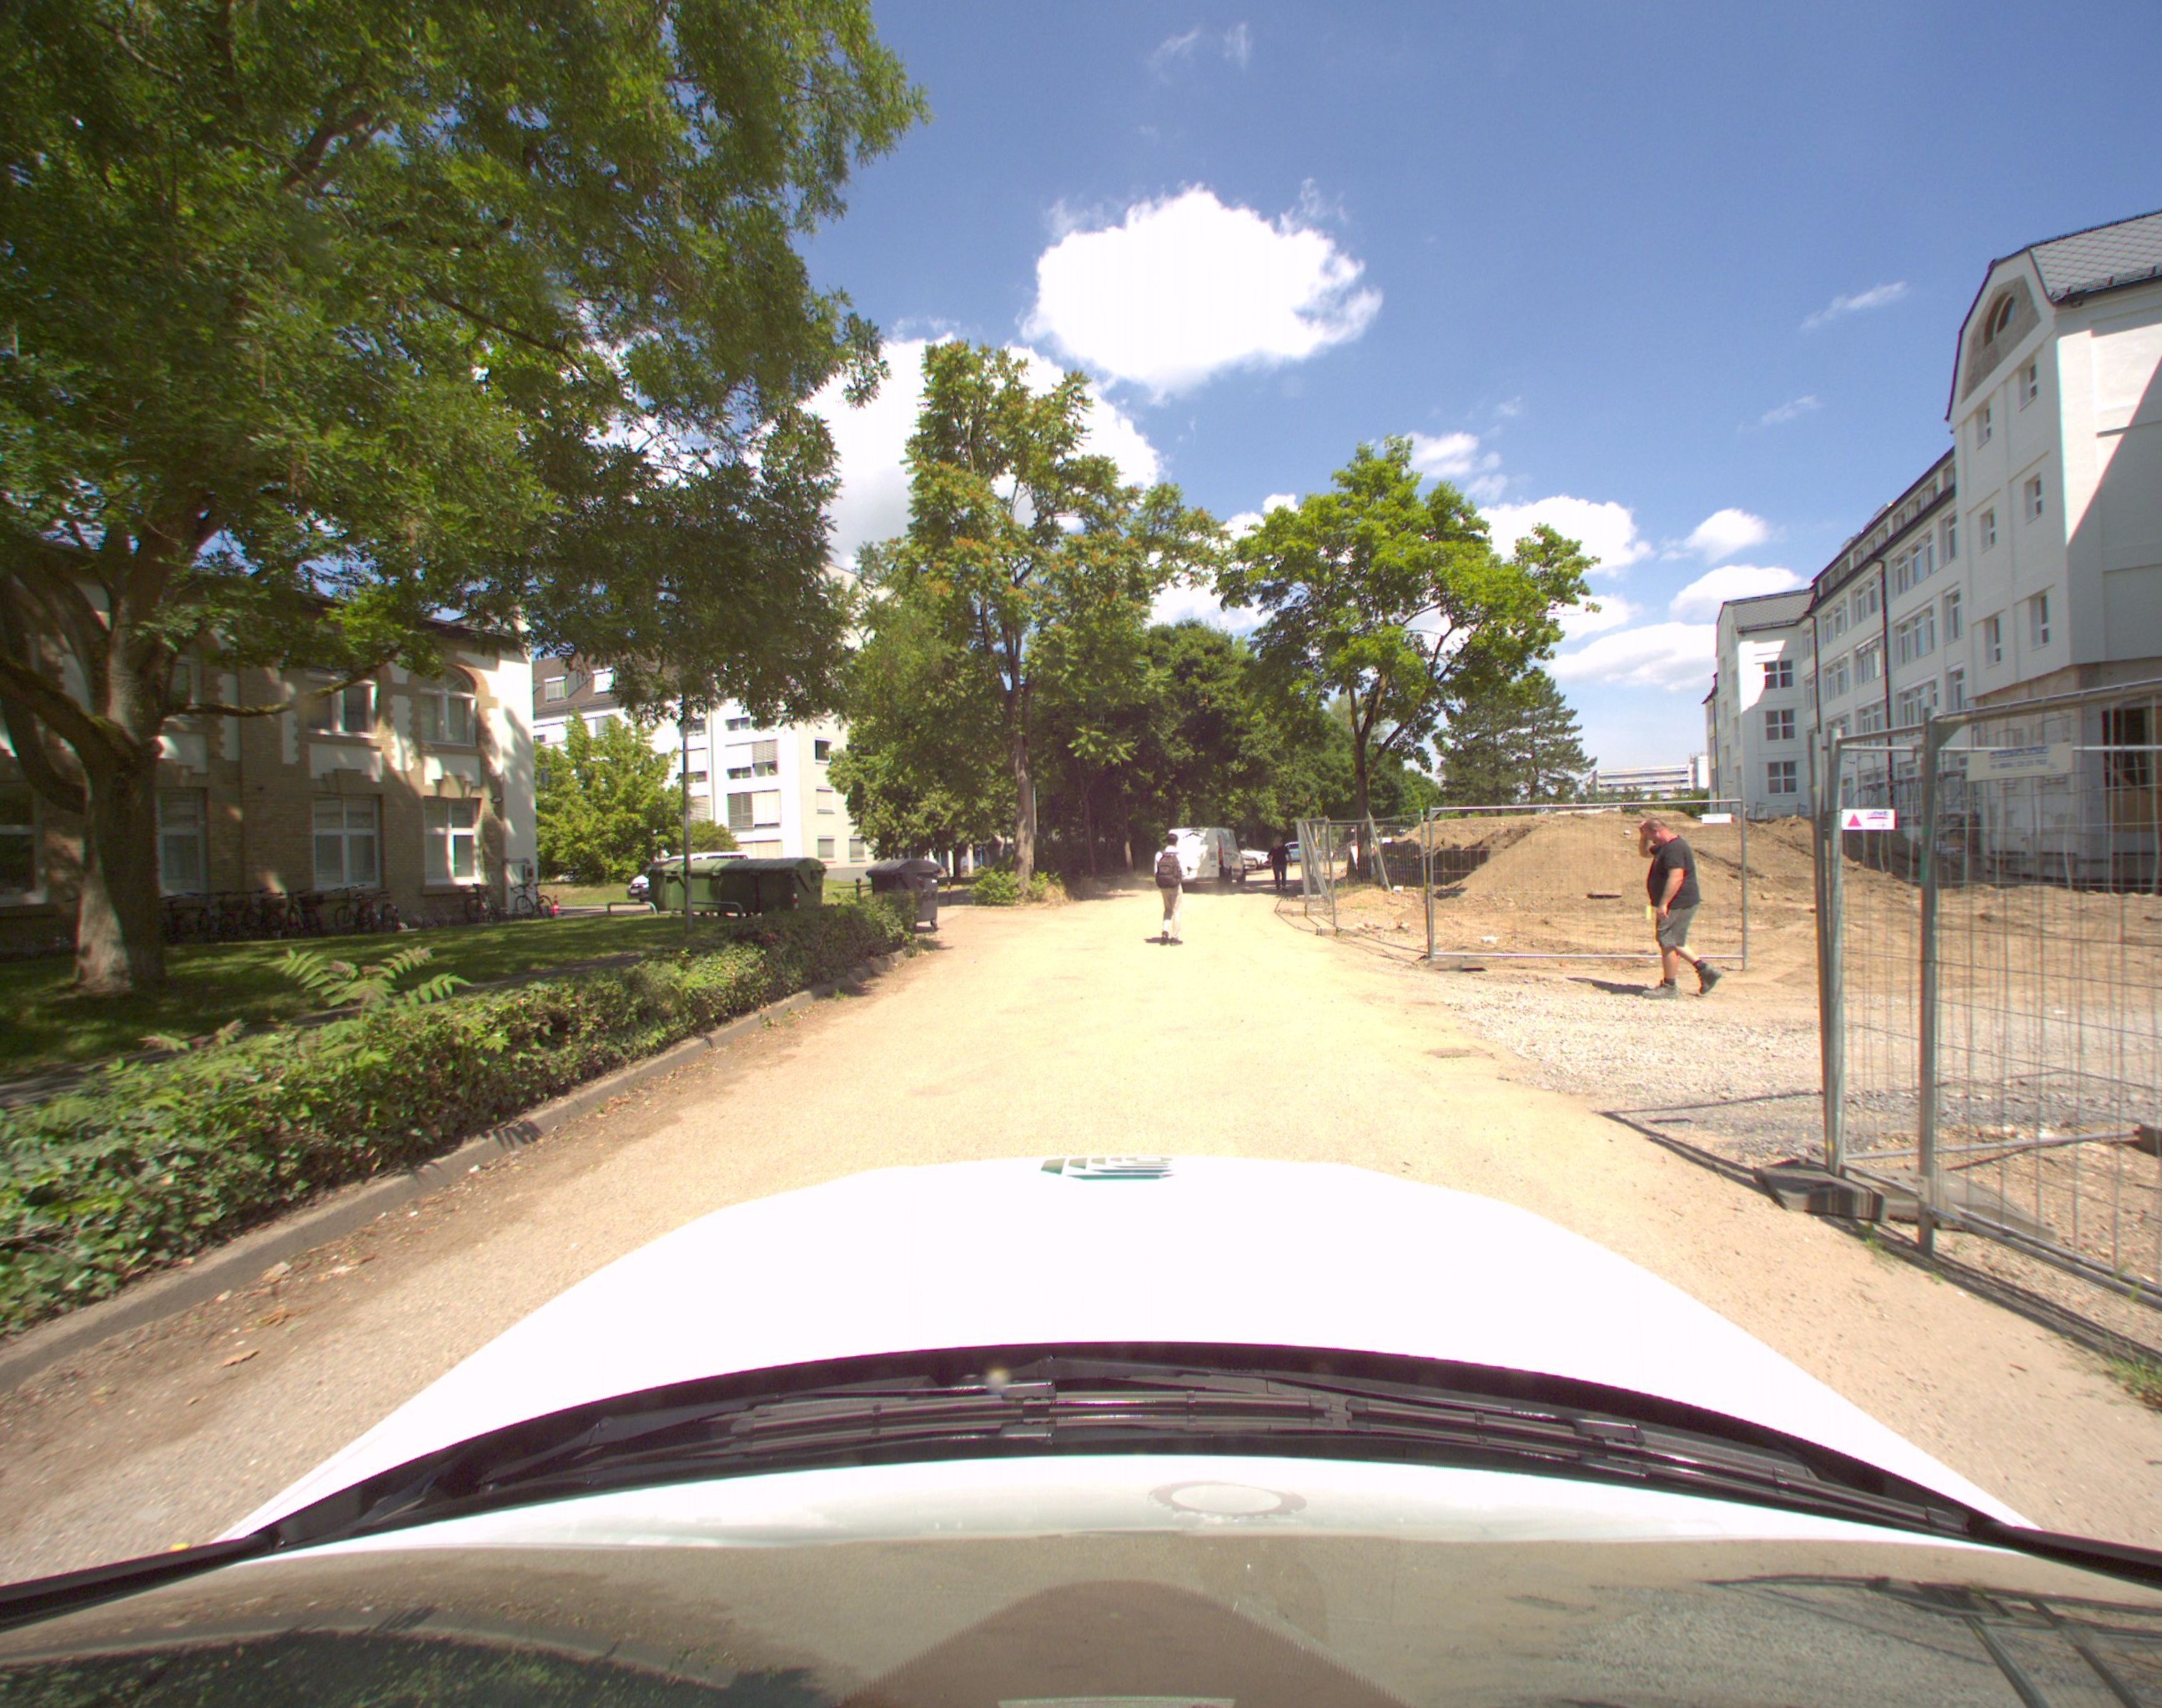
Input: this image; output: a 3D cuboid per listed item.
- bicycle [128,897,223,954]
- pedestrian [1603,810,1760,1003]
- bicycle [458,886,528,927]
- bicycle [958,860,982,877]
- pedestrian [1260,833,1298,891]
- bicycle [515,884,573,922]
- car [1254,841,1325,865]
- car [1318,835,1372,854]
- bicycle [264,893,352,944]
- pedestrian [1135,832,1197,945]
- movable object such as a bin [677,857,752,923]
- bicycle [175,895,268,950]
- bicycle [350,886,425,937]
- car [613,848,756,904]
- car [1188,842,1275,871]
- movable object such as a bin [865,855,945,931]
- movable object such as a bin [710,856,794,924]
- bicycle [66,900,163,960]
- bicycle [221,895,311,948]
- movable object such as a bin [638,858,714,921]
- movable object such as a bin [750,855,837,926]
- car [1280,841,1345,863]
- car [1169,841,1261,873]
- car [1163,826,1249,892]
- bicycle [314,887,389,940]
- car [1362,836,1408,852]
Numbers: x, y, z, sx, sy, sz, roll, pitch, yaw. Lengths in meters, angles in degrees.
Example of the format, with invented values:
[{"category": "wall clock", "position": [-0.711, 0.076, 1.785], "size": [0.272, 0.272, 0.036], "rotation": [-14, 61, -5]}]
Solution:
[{"category": "bicycle", "position": [-17.579, 1.360, 15.796], "size": [2.231, 1.011, 0.611], "rotation": [-1, 0, 26]}, {"category": "pedestrian", "position": [6.011, 0.504, 8.216], "size": [0.958, 1.819, 0.873], "rotation": [-2, 0, 11]}, {"category": "bicycle", "position": [-14.941, 1.323, 20.680], "size": [2.230, 0.958, 0.611], "rotation": [-1, 0, 31]}, {"category": "bicycle", "position": [-7.850, 1.043, 57.695], "size": [0.594, 1.084, 1.952], "rotation": [4, 3, 28]}, {"category": "pedestrian", "position": [5.876, 0.234, 24.104], "size": [1.028, 1.650, 1.053], "rotation": [-2, 1, 14]}, {"category": "bicycle", "position": [-14.398, 1.302, 21.832], "size": [1.707, 0.958, 0.618], "rotation": [-1, 0, 31]}, {"category": "car", "position": [14.669, -0.072, 57.278], "size": [4.463, 1.597, 1.736], "rotation": [-1, 1, 29]}, {"category": "car", "position": [24.510, -0.882, 75.707], "size": [4.463, 1.597, 1.736], "rotation": [-2, 0, 29]}, {"category": "bicycle", "position": [-16.713, 1.366, 17.587], "size": [2.231, 1.011, 0.611], "rotation": [-1, 0, 26]}, {"category": "pedestrian", "position": [1.388, 0.528, 13.113], "size": [0.868, 1.729, 1.083], "rotation": [-2, 1, 9]}, {"category": "movable object such as a bin", "position": [-8.770, 0.848, 19.493], "size": [1.246, 1.479, 1.054], "rotation": [-2, 0, 30]}, {"category": "bicycle", "position": [-17.319, 1.362, 16.397], "size": [2.231, 1.011, 0.611], "rotation": [-1, 0, 26]}, {"category": "bicycle", "position": [-16.049, 1.300, 18.828], "size": [2.230, 1.082, 0.611], "rotation": [-1, 0, 31]}, {"category": "car", "position": [-15.650, 0.819, 32.437], "size": [1.974, 2.013, 4.805], "rotation": [-2, 0, 30]}, {"category": "car", "position": [8.523, 0.170, 46.192], "size": [4.463, 1.531, 1.736], "rotation": [-1, 0, 29]}, {"category": "movable object such as a bin", "position": [-3.494, 0.751, 16.135], "size": [1.121, 1.394, 1.147], "rotation": [-2, 1, -37]}, {"category": "movable object such as a bin", "position": [-7.576, 0.820, 18.768], "size": [1.344, 1.479, 1.102], "rotation": [-2, 0, 19]}, {"category": "bicycle", "position": [-17.997, 1.387, 15.149], "size": [2.231, 1.011, 0.611], "rotation": [-1, 0, 26]}, {"category": "bicycle", "position": [-17.032, 1.381, 17.007], "size": [2.231, 1.011, 0.611], "rotation": [-1, 0, 26]}, {"category": "movable object such as a bin", "position": [-10.073, 0.878, 20.274], "size": [1.392, 1.479, 1.054], "rotation": [-2, 0, 30]}, {"category": "movable object such as a bin", "position": [-6.400, 0.792, 18.180], "size": [1.308, 1.479, 1.215], "rotation": [-2, 0, 27]}, {"category": "car", "position": [17.688, -0.157, 62.269], "size": [4.462, 1.597, 1.949], "rotation": [-1, 0, 30]}, {"category": "car", "position": [7.236, 0.216, 43.990], "size": [4.462, 1.609, 2.012], "rotation": [-1, -2, 30]}, {"category": "car", "position": [4.227, 0.137, 26.844], "size": [1.957, 1.947, 4.603], "rotation": [-2, 0, 19]}, {"category": "bicycle", "position": [-16.407, 1.310, 18.288], "size": [2.230, 1.082, 0.611], "rotation": [-1, 0, 31]}, {"category": "car", "position": [33.066, -1.122, 88.553], "size": [4.463, 1.597, 1.736], "rotation": [-2, 0, 29]}]
